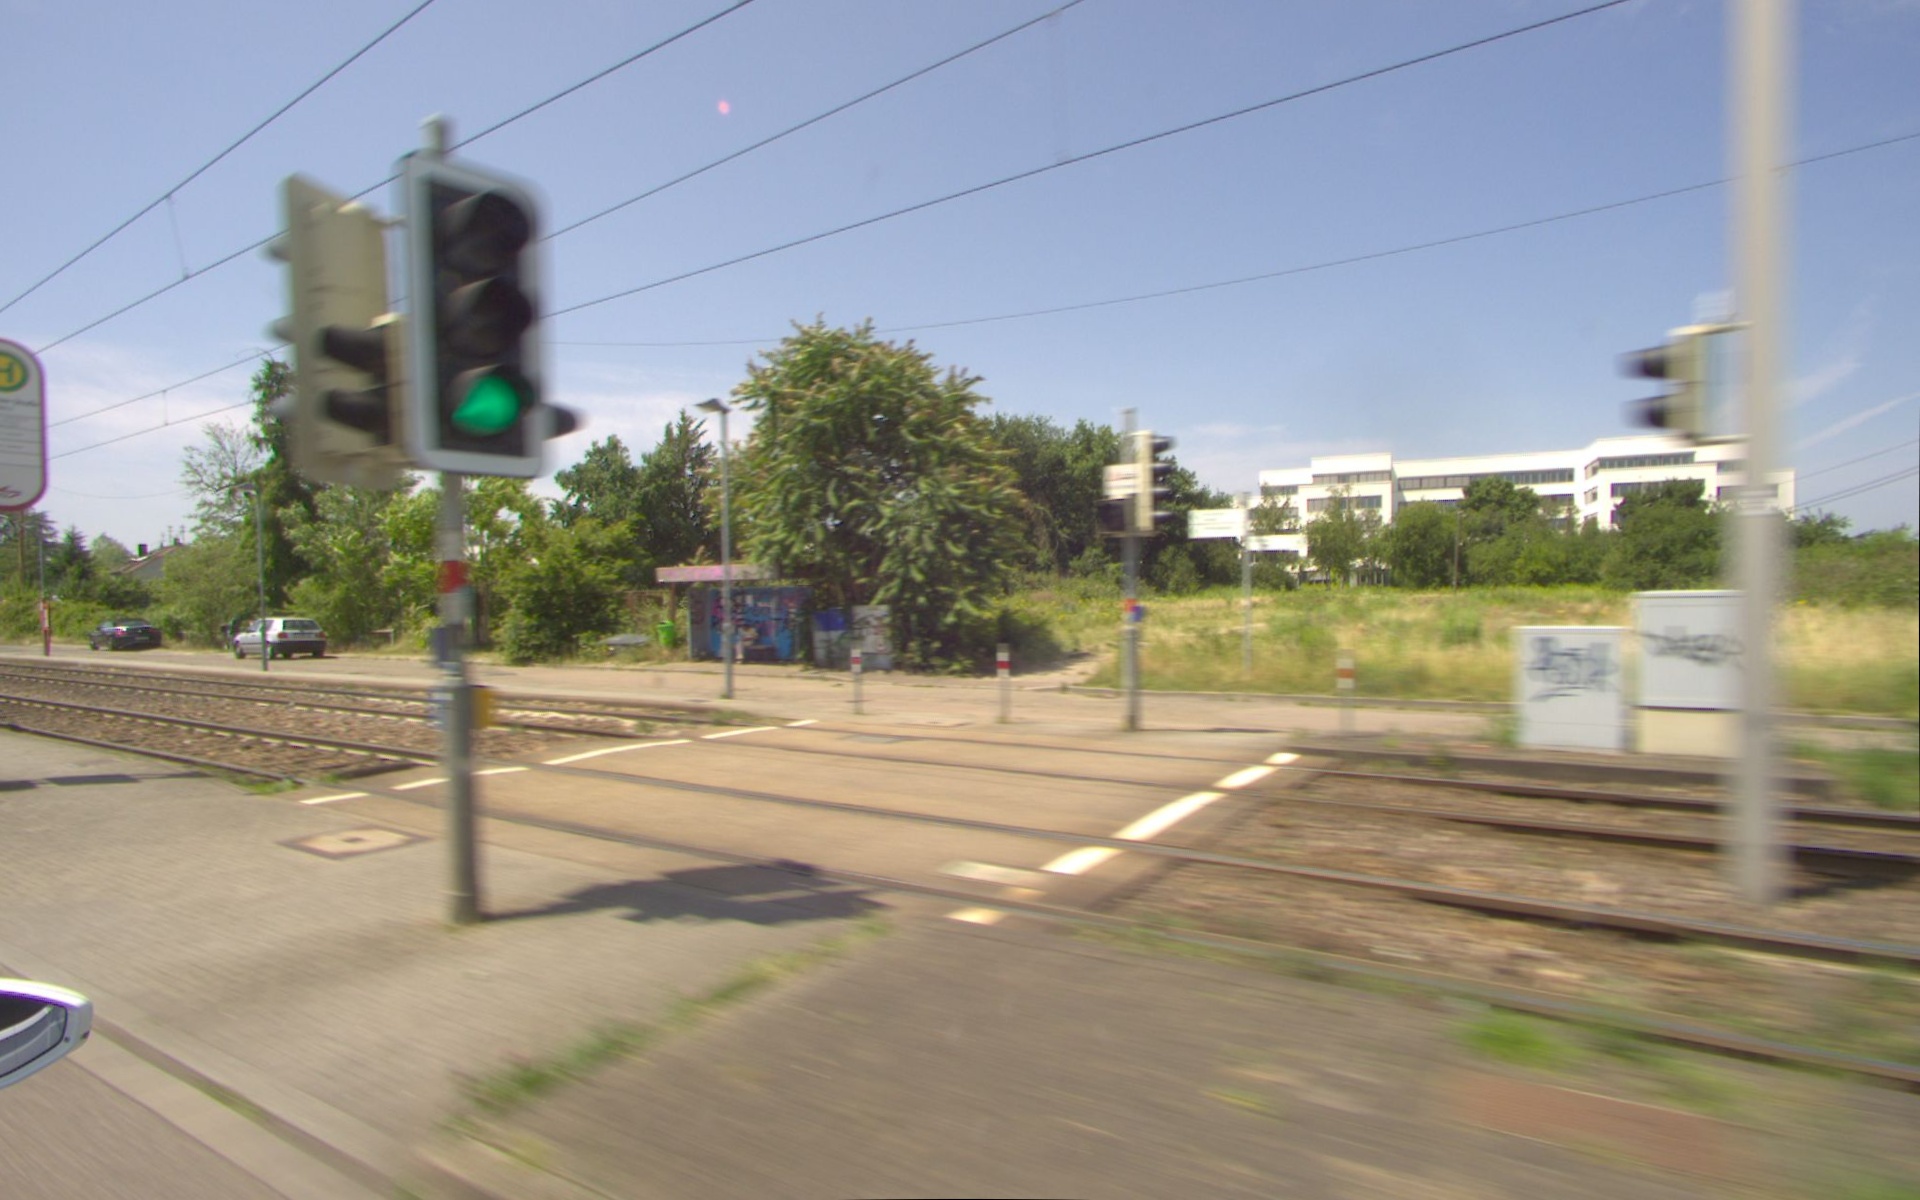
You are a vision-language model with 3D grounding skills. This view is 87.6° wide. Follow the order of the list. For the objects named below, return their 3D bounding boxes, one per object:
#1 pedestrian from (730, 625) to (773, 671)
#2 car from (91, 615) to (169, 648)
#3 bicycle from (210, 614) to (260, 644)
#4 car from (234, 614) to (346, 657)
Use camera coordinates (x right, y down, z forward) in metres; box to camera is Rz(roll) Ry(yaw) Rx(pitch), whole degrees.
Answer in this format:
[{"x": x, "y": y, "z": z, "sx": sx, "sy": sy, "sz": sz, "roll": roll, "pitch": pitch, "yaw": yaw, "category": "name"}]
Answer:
[{"x": -5.237, "y": 1.195, "z": 25.132, "sx": 0.710, "sy": 1.101, "sz": 0.805, "roll": 0, "pitch": 0, "yaw": 42, "category": "pedestrian"}, {"x": -38.141, "y": 1.433, "z": 45.979, "sx": 4.808, "sy": 1.440, "sz": 1.615, "roll": -1, "pitch": -1, "yaw": 36, "category": "car"}, {"x": -31.902, "y": 1.282, "z": 44.069, "sx": 1.647, "sy": 1.286, "sz": 0.704, "roll": -1, "pitch": 1, "yaw": 0, "category": "bicycle"}, {"x": -23.311, "y": 1.202, "z": 34.799, "sx": 3.946, "sy": 1.440, "sz": 1.934, "roll": -1, "pitch": -1, "yaw": 35, "category": "car"}]
